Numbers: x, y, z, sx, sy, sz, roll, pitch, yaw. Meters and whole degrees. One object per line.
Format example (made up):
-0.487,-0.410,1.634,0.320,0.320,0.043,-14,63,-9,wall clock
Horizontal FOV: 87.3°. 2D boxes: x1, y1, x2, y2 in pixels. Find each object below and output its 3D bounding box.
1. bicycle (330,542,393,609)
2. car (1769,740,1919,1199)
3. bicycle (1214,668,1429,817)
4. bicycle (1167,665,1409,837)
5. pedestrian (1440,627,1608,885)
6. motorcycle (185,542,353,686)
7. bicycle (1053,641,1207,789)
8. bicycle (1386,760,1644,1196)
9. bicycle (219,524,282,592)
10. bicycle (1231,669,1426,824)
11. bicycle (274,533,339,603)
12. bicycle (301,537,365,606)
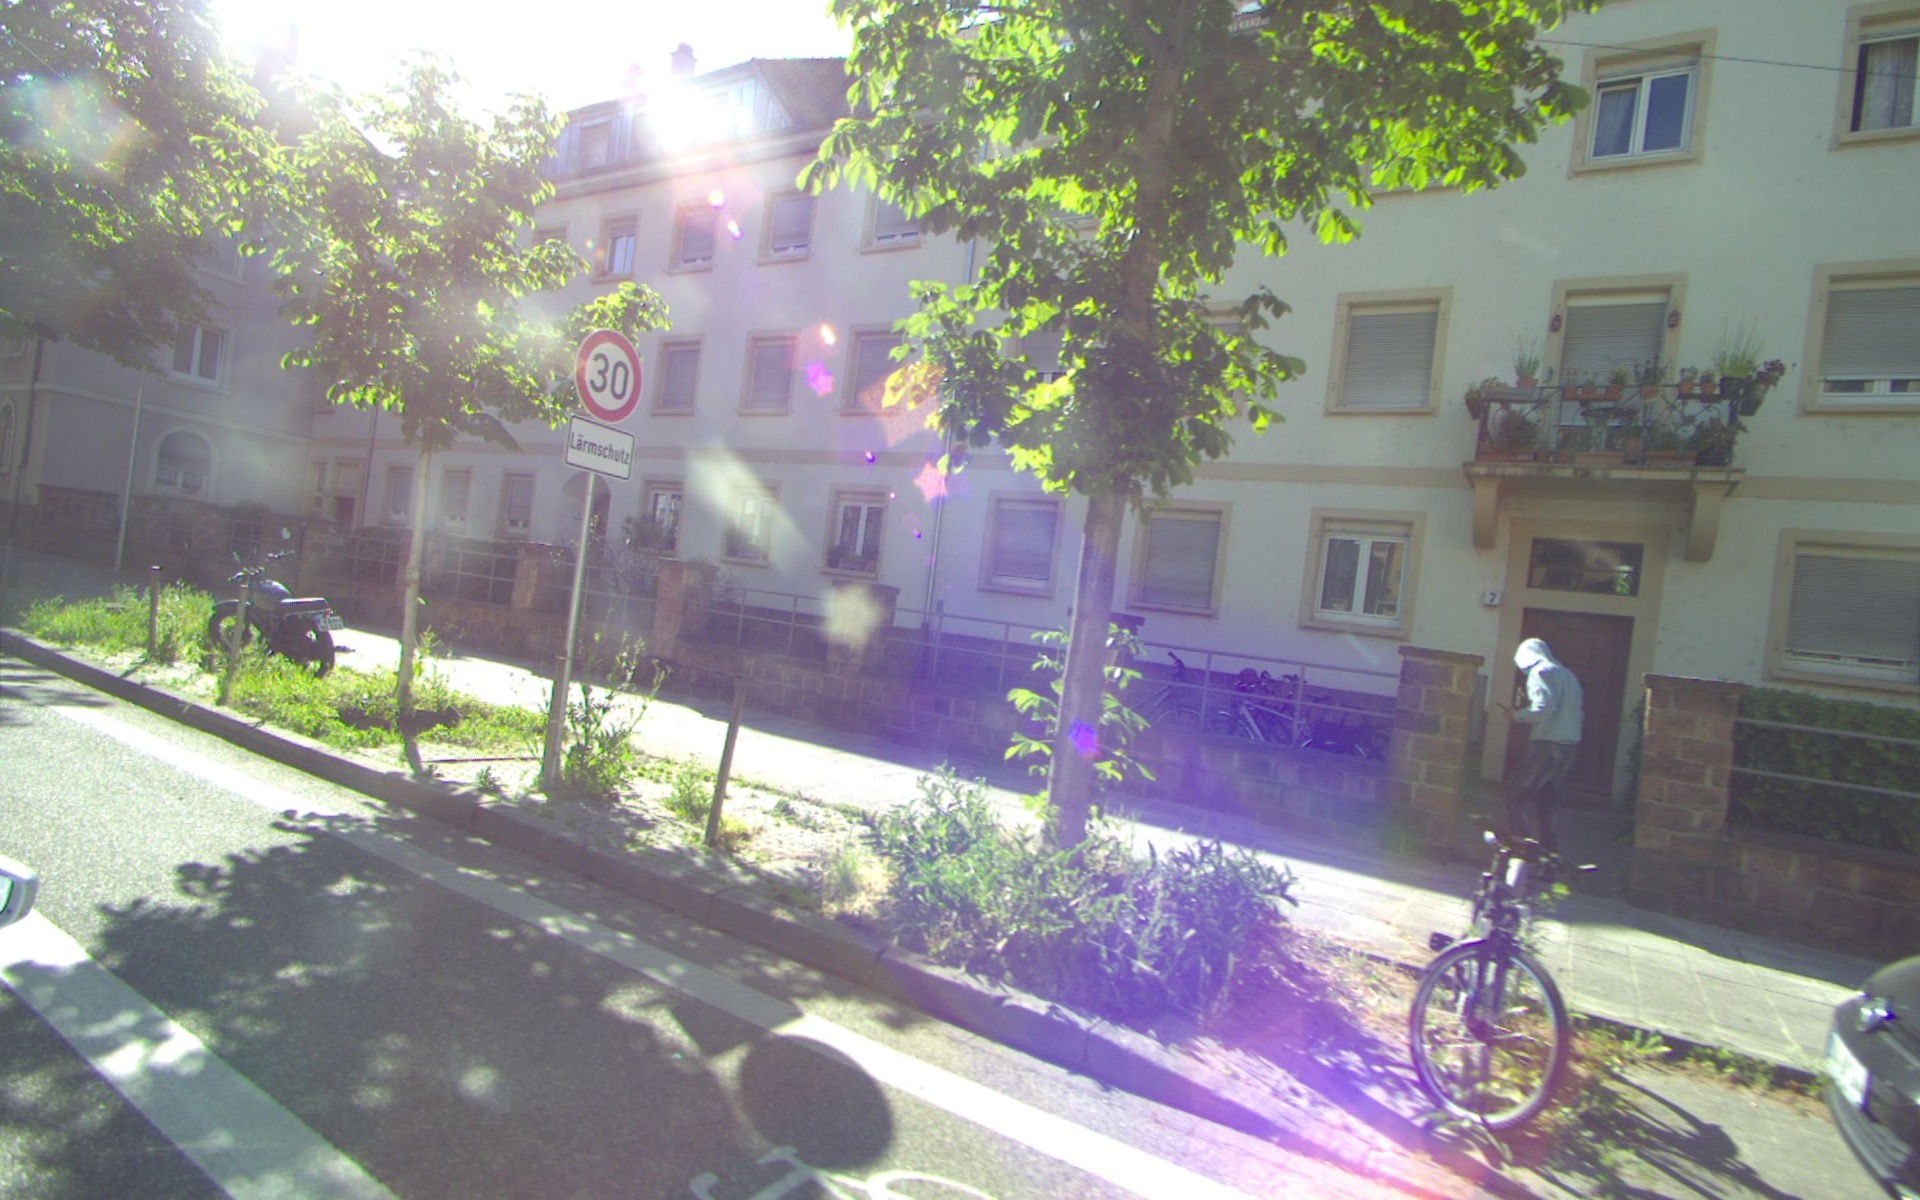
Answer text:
-12.407,-0.516,20.844,1.351,1.237,0.435,7,-1,33,bicycle
4.590,1.438,2.266,3.978,1.482,1.789,7,0,32,car
3.680,1.420,10.329,1.886,1.166,0.545,7,-1,33,bicycle
2.894,1.299,8.986,1.886,1.167,0.448,7,0,33,bicycle
4.107,1.126,7.333,0.757,1.744,0.576,9,-1,-29,pedestrian
-6.981,0.115,10.135,1.828,1.207,0.495,7,4,25,motorcycle
1.719,1.150,10.288,1.403,1.276,0.348,7,-1,37,bicycle
2.170,1.313,4.027,0.610,1.080,1.796,7,1,27,bicycle
-14.391,-0.857,20.395,1.351,1.237,0.435,7,-1,33,bicycle
3.467,1.355,9.523,1.548,1.166,0.441,7,-1,33,bicycle
-12.987,-0.640,19.976,1.351,1.237,0.435,7,-1,33,bicycle
-12.706,-0.584,20.382,1.351,1.237,0.435,7,-1,33,bicycle
